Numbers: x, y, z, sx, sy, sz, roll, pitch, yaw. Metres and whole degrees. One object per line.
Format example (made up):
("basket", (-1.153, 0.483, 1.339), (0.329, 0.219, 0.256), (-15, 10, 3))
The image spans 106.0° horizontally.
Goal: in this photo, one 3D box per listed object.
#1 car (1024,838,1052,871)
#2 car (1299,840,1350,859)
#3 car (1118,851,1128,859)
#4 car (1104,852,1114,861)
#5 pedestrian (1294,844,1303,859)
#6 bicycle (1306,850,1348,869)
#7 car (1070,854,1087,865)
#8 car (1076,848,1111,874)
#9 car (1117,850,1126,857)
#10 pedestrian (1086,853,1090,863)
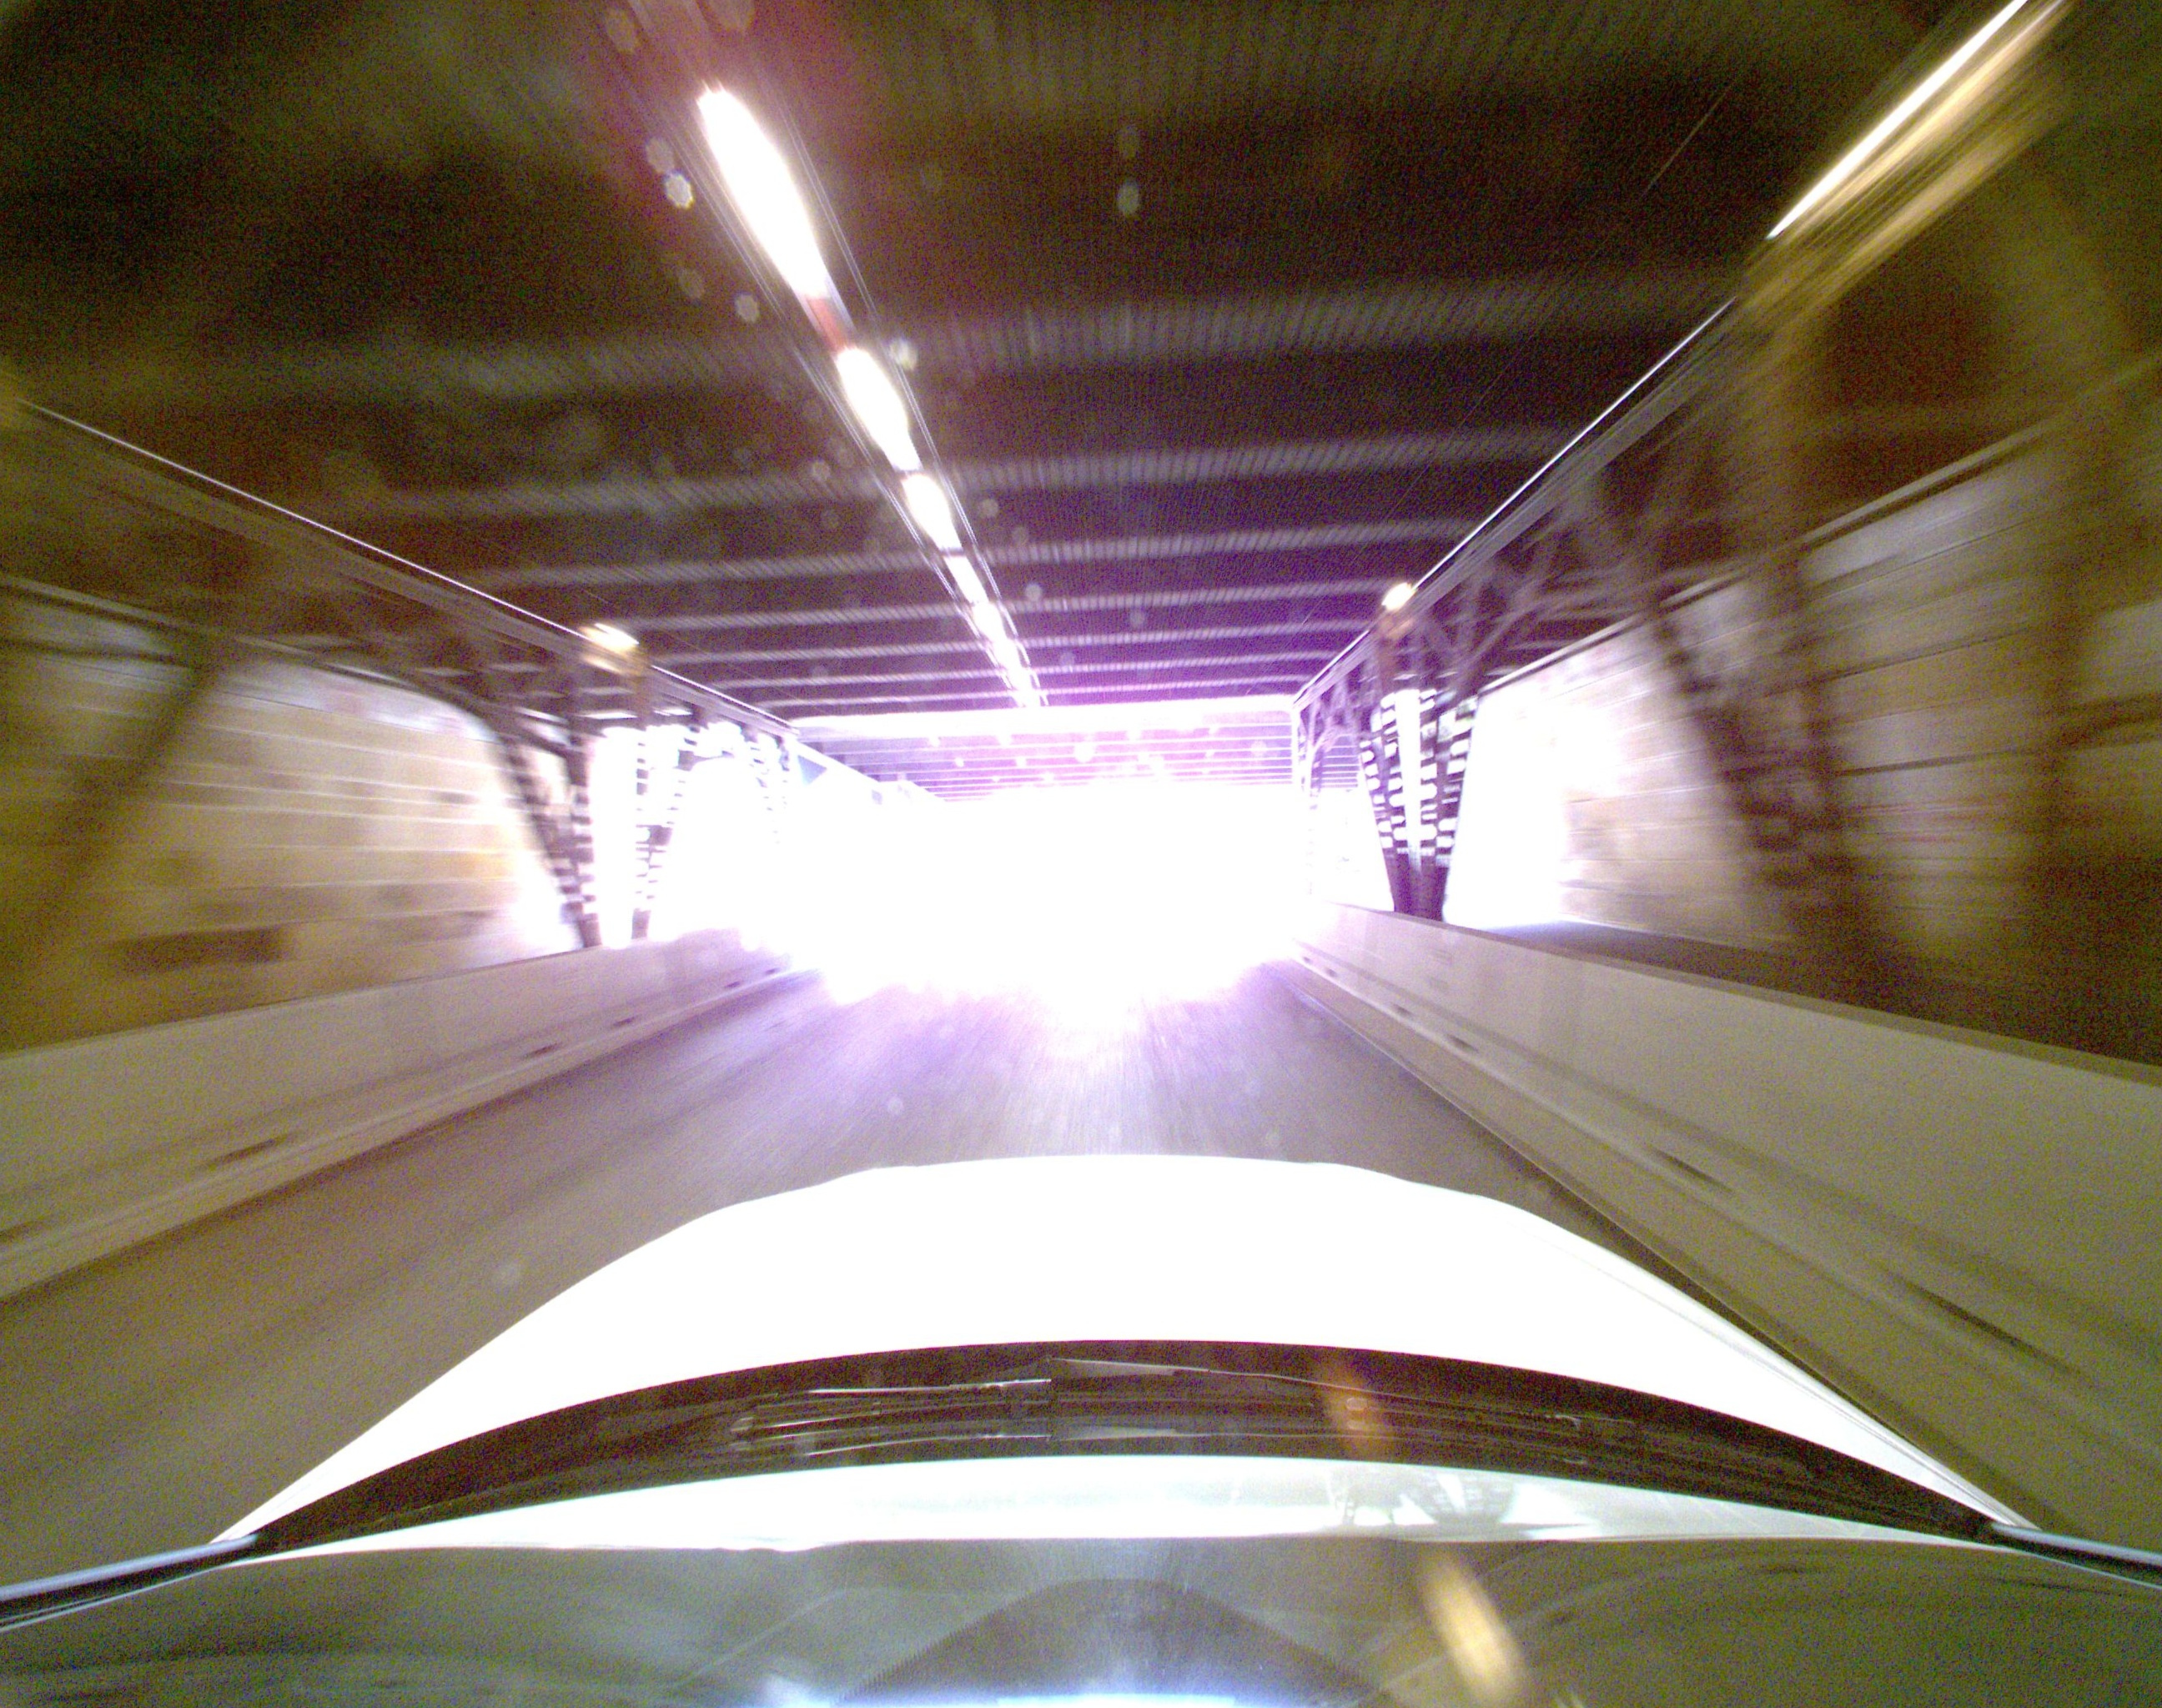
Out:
("car", (-3.512, 0.065, 67.546), (1.961, 2.607, 5.931), (-1, 0, 1))
("car", (24.305, -0.462, 81.385), (4.650, 1.688, 2.005), (-3, 0, 9))
("car", (7.712, 0.117, 148.507), (1.703, 1.354, 4.001), (-2, 0, 1))
("car", (5.333, 0.469, 155.287), (1.703, 1.712, 4.001), (-2, 0, 1))
("pedestrian", (23.924, -0.300, 89.703), (0.698, 1.674, 0.613), (-1, 0, -19))
("bicycle", (12.661, 0.288, 41.905), (1.938, 0.904, 0.507), (-3, -1, 0))
("car", (-0.286, 0.665, 104.974), (1.701, 1.245, 4.419), (-2, 0, 6))
("car", (0.898, 0.448, 56.613), (1.815, 1.653, 4.224), (-3, 0, 8))
("car", (8.160, -0.037, 166.207), (1.703, 1.354, 4.001), (-2, 0, 1))
("pedestrian", (1.166, 0.696, 140.523), (0.549, 1.686, 0.516), (-2, 0, 1))
